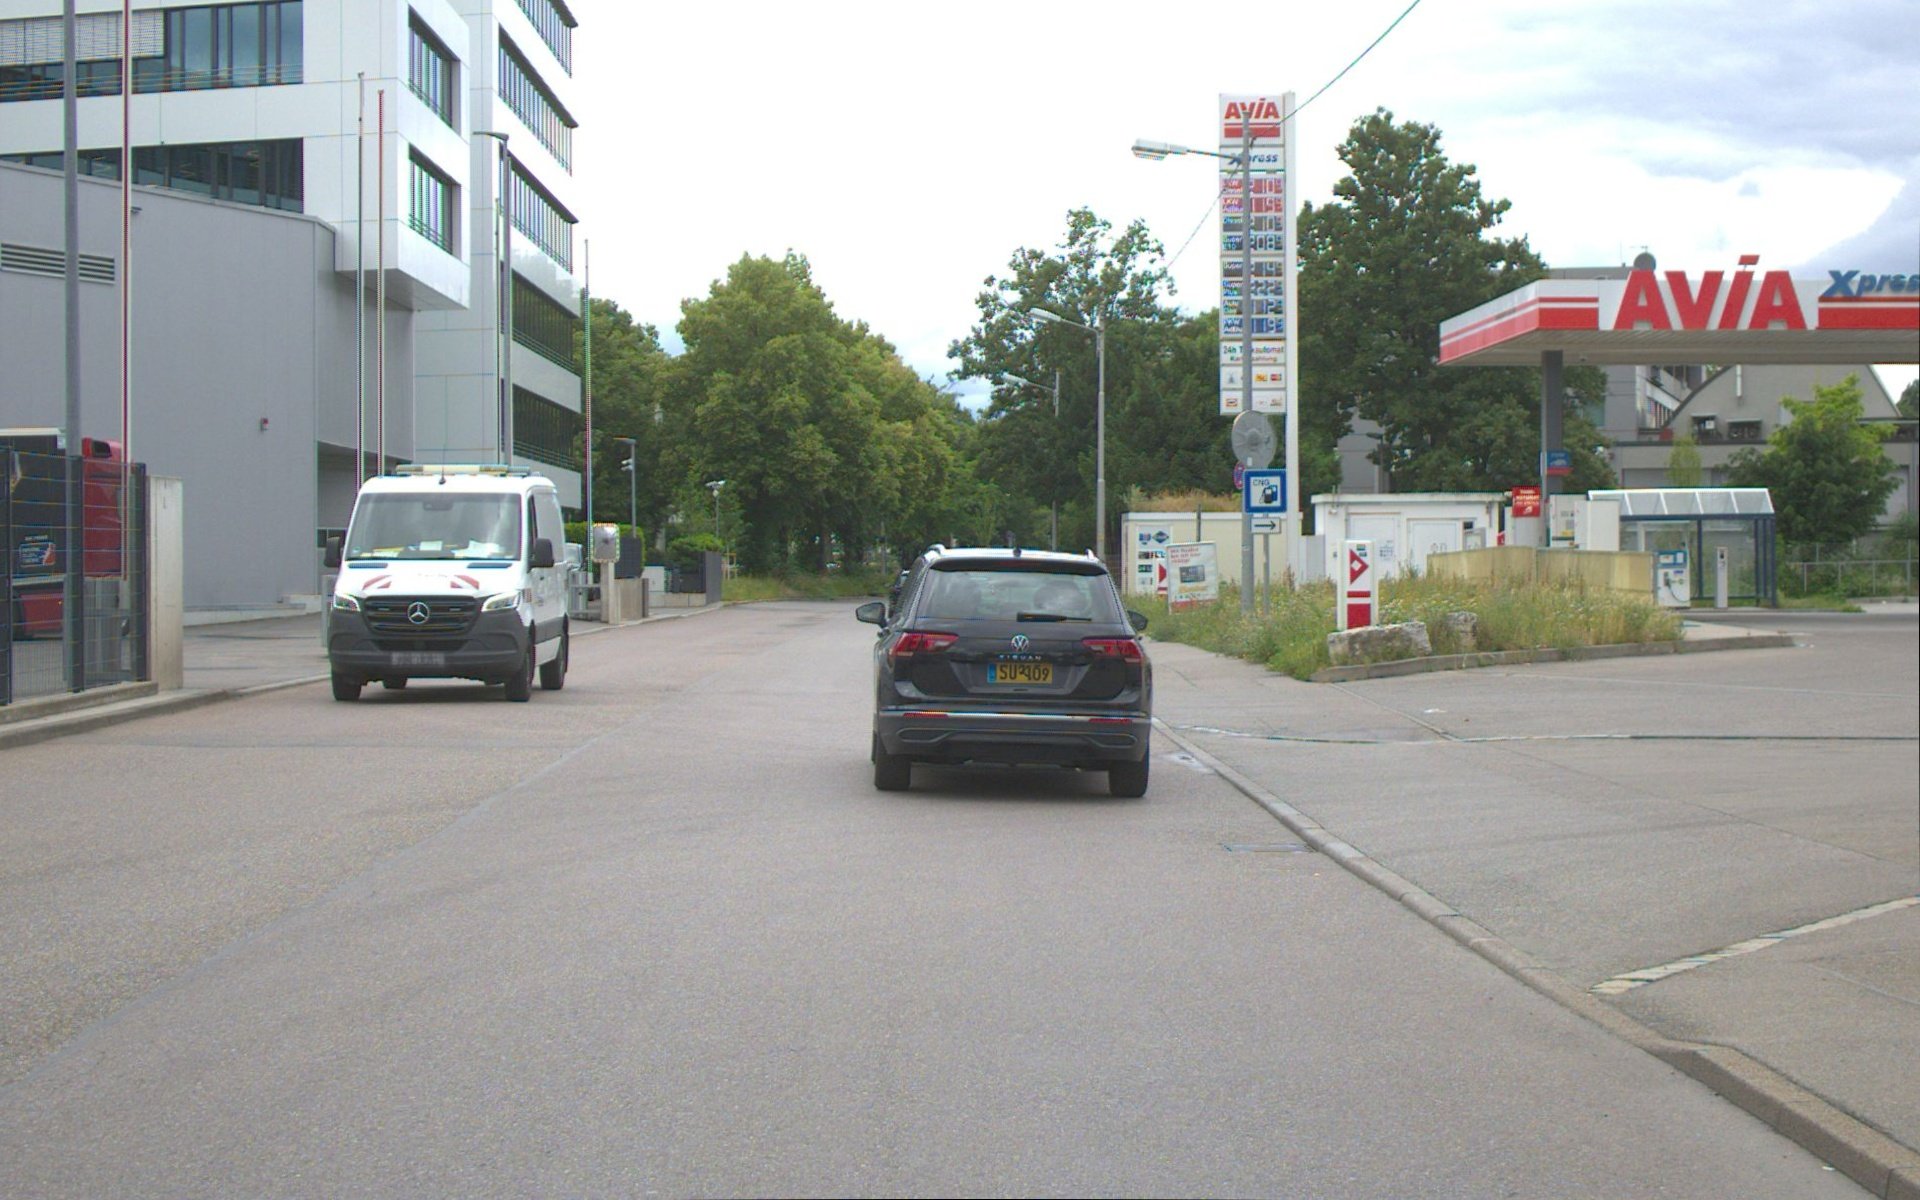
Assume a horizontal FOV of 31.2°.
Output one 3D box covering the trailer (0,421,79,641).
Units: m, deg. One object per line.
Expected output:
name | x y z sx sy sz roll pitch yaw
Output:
trailer | -20.141 -1.227 59.744 2.745 4.017 12.605 1 1 20

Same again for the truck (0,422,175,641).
truck | -18.108 -1.297 65.462 2.745 4.017 7.085 1 1 20

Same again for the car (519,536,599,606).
car | -10.535 -0.765 90.490 1.650 1.756 3.179 1 0 1

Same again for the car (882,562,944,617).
car | -1.411 -0.322 103.686 1.839 1.611 4.000 0 1 -1

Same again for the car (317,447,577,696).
car | -5.303 -0.323 36.184 1.993 2.408 5.257 1 1 -1

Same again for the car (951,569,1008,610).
car | 0.887 -0.478 153.630 1.994 1.780 3.999 1 0 9

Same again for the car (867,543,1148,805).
car | 0.352 0.465 23.556 1.739 1.612 3.641 1 0 2
